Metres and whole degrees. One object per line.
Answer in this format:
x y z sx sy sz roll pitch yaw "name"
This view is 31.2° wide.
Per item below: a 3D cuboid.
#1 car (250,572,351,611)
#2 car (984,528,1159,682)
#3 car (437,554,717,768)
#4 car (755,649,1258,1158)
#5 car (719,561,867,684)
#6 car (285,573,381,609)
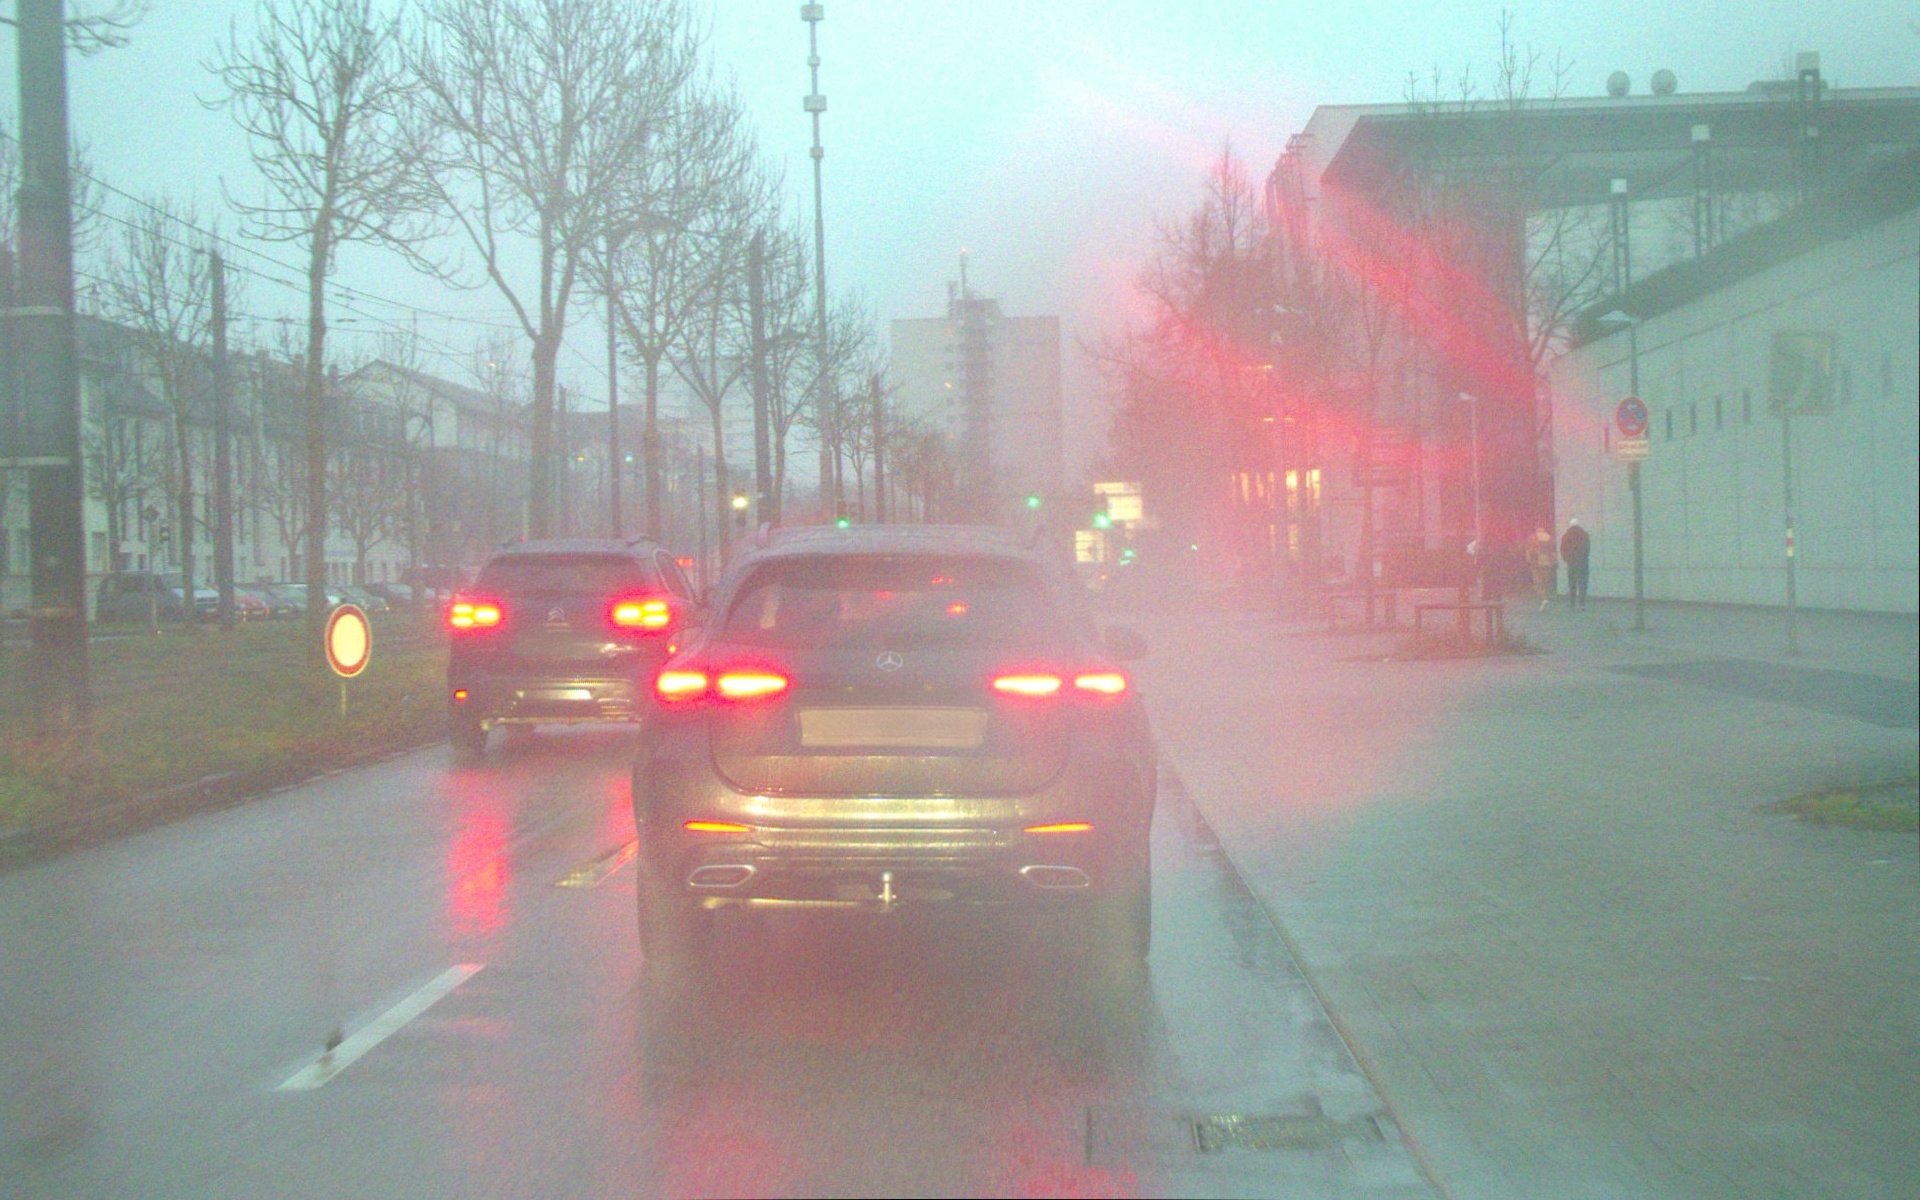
-25.182 -0.322 131.210 3.552 1.349 1.778 -1 1 35 "car"
1.370 0.037 42.011 1.993 1.738 4.000 -1 1 2 "car"
-3.009 0.437 27.745 1.672 1.594 4.053 0 1 2 "car"
0.222 1.046 13.514 1.672 1.594 4.053 0 1 2 "car"
-2.224 0.268 46.765 1.672 1.594 4.053 0 1 2 "car"
-25.164 -0.363 137.966 3.552 1.349 1.778 -1 1 35 "car"
